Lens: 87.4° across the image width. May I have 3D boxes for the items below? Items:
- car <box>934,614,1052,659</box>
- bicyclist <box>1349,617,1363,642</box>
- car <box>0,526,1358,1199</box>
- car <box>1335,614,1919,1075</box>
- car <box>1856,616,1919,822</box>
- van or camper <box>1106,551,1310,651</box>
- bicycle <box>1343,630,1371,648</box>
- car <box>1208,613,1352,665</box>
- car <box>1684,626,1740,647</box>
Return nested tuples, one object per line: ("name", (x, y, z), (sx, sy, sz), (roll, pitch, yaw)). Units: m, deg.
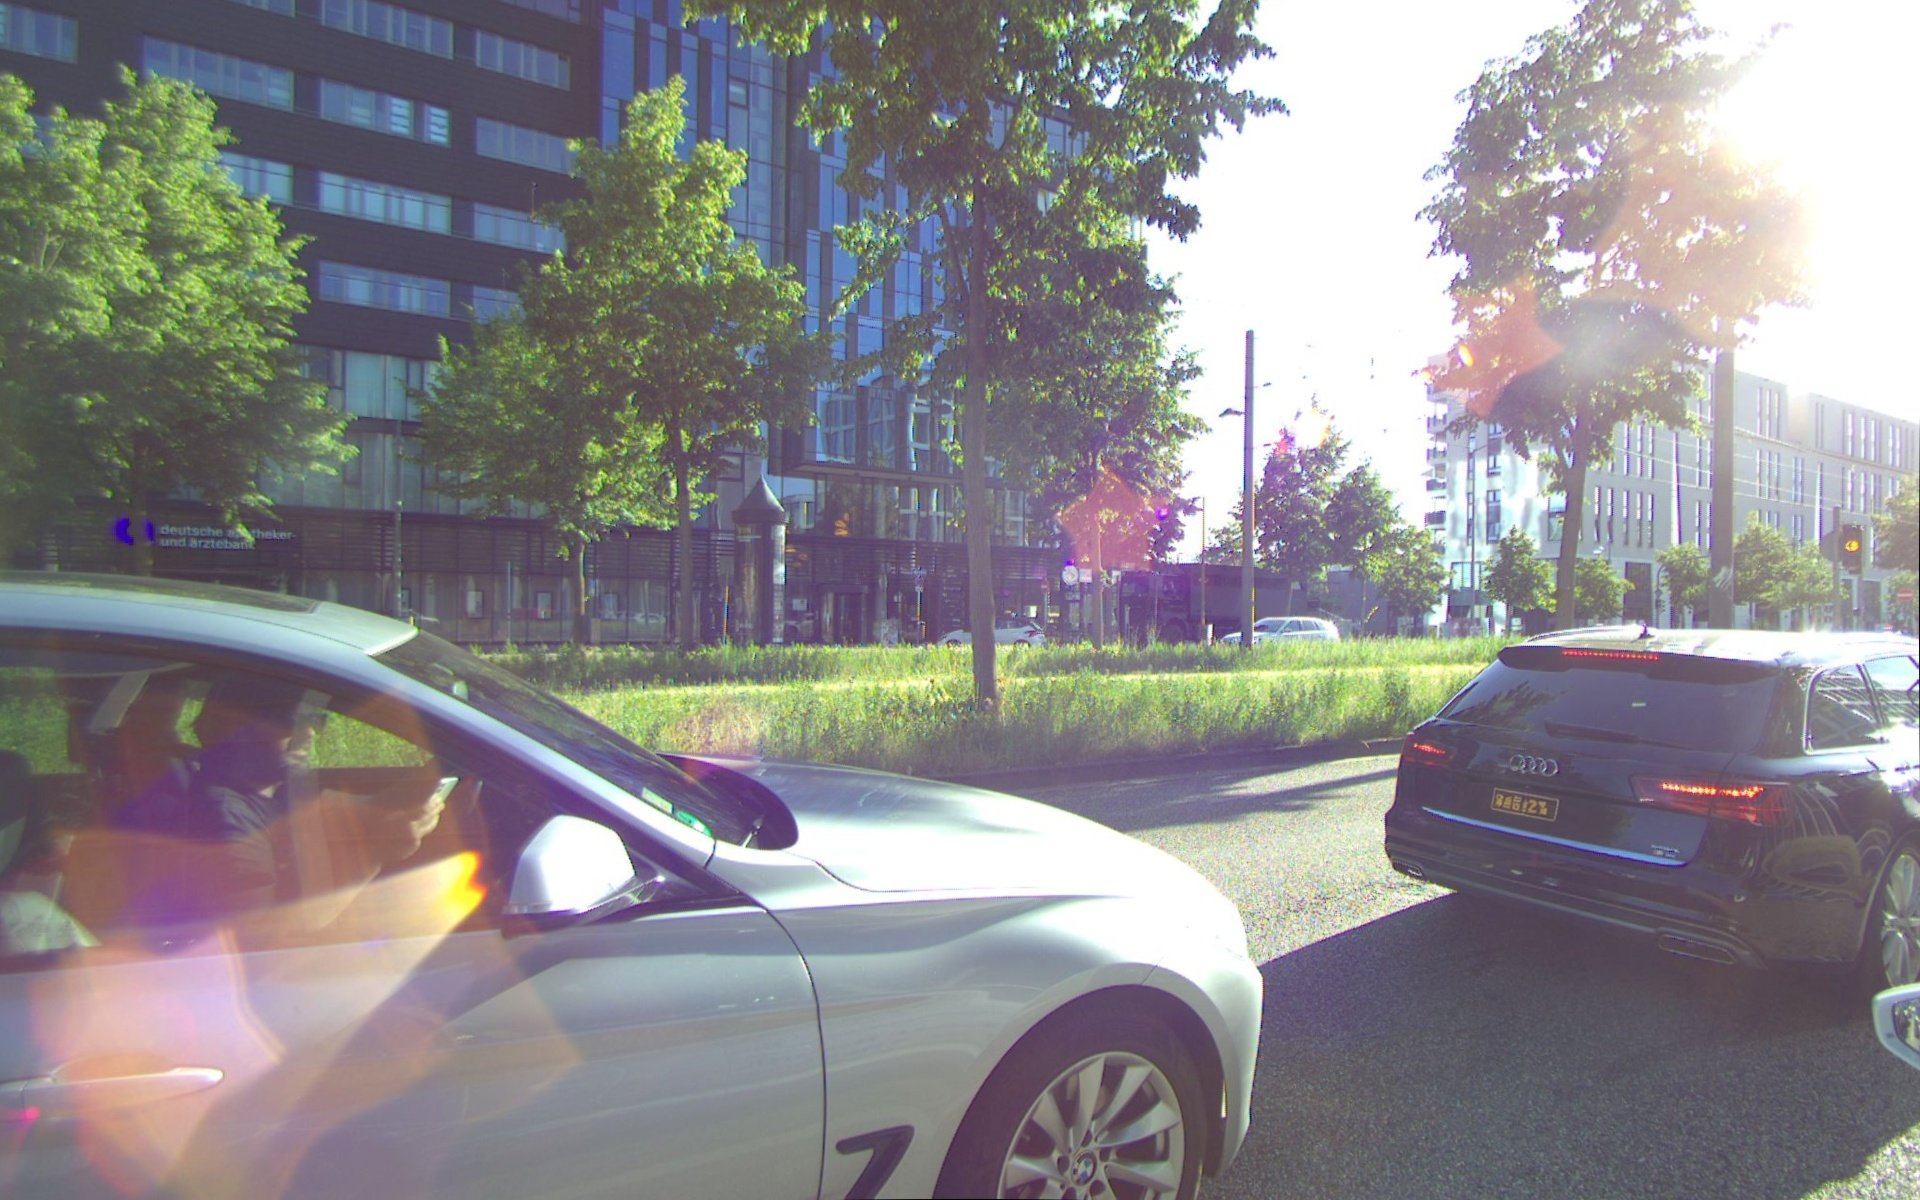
("car", (1.212, 1.290, 36.427), (3.921, 1.525, 1.758), (1, -1, 20))
("bicyclist", (23.467, 1.748, 59.504), (0.619, 1.425, 0.490), (2, 0, -30))
("car", (-1.511, 0.674, 1.943), (4.689, 1.508, 1.799), (1, -1, -31))
("car", (4.170, 0.847, 5.182), (4.455, 1.476, 1.799), (1, -1, -31))
("car", (9.254, 0.939, 8.127), (4.063, 1.548, 1.800), (1, -1, -30))
("van or camper", (11.601, 0.166, 46.414), (10.109, 4.248, 2.740), (2, -1, -30))
("bicycle", (23.540, 2.308, 59.561), (1.826, 1.047, 0.525), (2, 0, -30))
("car", (10.474, 1.243, 32.748), (4.681, 1.558, 1.845), (1, -1, -31))
("car", (52.391, 2.537, 69.982), (4.420, 1.360, 1.572), (2, -1, -31))
